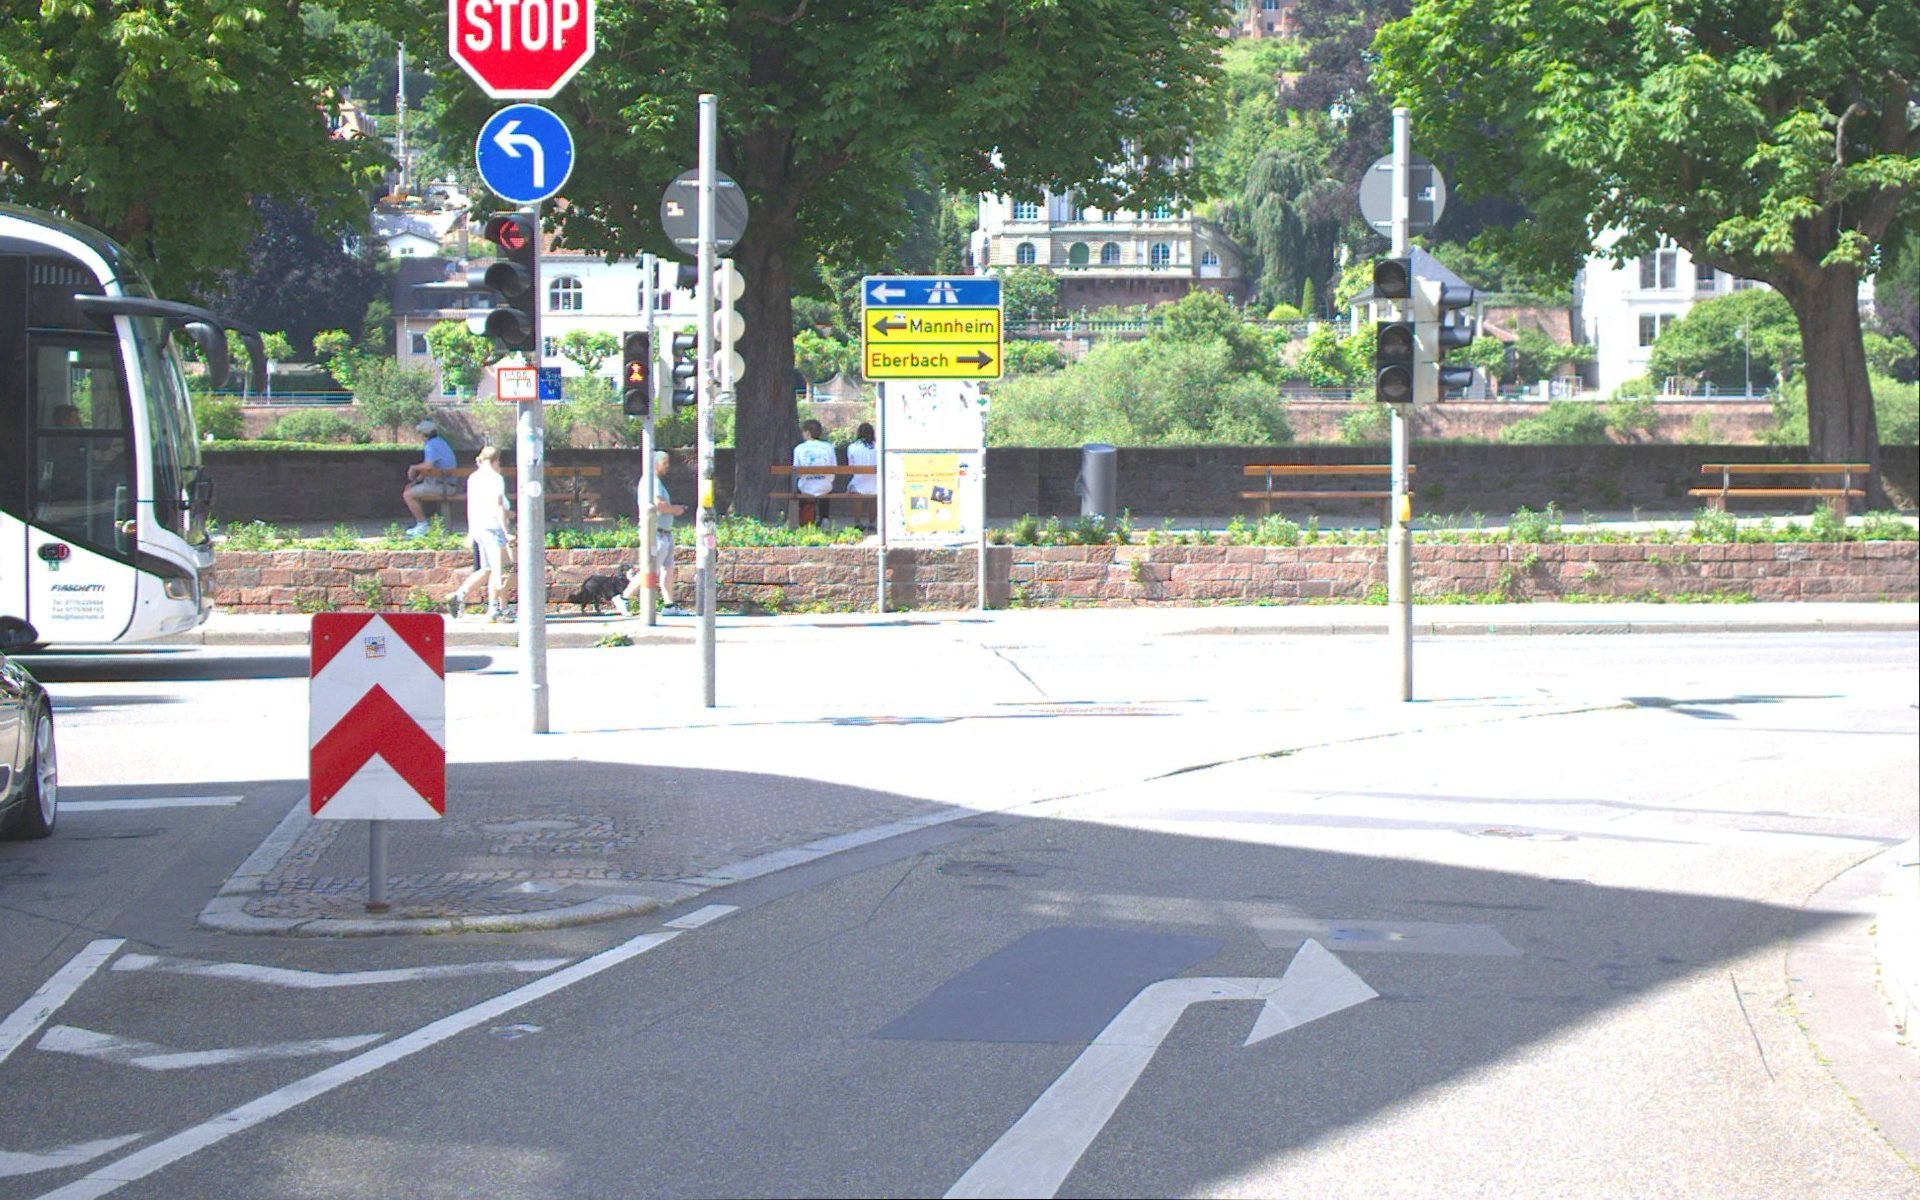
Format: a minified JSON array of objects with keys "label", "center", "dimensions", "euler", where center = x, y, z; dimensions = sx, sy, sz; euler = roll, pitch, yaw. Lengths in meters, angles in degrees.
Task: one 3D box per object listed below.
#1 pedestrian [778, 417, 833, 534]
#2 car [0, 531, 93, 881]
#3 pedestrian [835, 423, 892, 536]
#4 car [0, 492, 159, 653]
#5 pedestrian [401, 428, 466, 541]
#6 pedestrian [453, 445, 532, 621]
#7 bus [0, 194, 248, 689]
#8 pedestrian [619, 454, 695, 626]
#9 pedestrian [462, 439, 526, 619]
[{"label":"pedestrian","center":[-1.762,-1.407,39.151],"dimensions":[0.553,1.275,0.704],"euler":[2,-1,-5]},{"label":"car","center":[-4.989,0.493,14.785],"dimensions":[1.714,1.457,4.726],"euler":[-2,2,-6]},{"label":"pedestrian","center":[-1.110,-1.367,39.361],"dimensions":[0.553,1.224,0.986],"euler":[2,-1,-5]},{"label":"car","center":[-9.395,-0.271,31.034],"dimensions":[3.986,1.413,1.875],"euler":[0,2,-4]},{"label":"pedestrian","center":[-5.909,-1.297,38.587],"dimensions":[0.641,1.224,0.414],"euler":[2,-1,-15]},{"label":"pedestrian","center":[-4.838,-0.691,35.612],"dimensions":[0.722,1.795,0.634],"euler":[-1,1,-2]},{"label":"bus","center":[-11.942,-1.242,27.175],"dimensions":[12.137,3.775,2.908],"euler":[0,2,-6]},{"label":"pedestrian","center":[-3.165,-0.623,35.848],"dimensions":[0.688,1.763,0.718],"euler":[-1,1,-11]},{"label":"pedestrian","center":[-4.695,-0.720,34.680],"dimensions":[0.578,1.795,0.705],"euler":[0,1,-2]}]
